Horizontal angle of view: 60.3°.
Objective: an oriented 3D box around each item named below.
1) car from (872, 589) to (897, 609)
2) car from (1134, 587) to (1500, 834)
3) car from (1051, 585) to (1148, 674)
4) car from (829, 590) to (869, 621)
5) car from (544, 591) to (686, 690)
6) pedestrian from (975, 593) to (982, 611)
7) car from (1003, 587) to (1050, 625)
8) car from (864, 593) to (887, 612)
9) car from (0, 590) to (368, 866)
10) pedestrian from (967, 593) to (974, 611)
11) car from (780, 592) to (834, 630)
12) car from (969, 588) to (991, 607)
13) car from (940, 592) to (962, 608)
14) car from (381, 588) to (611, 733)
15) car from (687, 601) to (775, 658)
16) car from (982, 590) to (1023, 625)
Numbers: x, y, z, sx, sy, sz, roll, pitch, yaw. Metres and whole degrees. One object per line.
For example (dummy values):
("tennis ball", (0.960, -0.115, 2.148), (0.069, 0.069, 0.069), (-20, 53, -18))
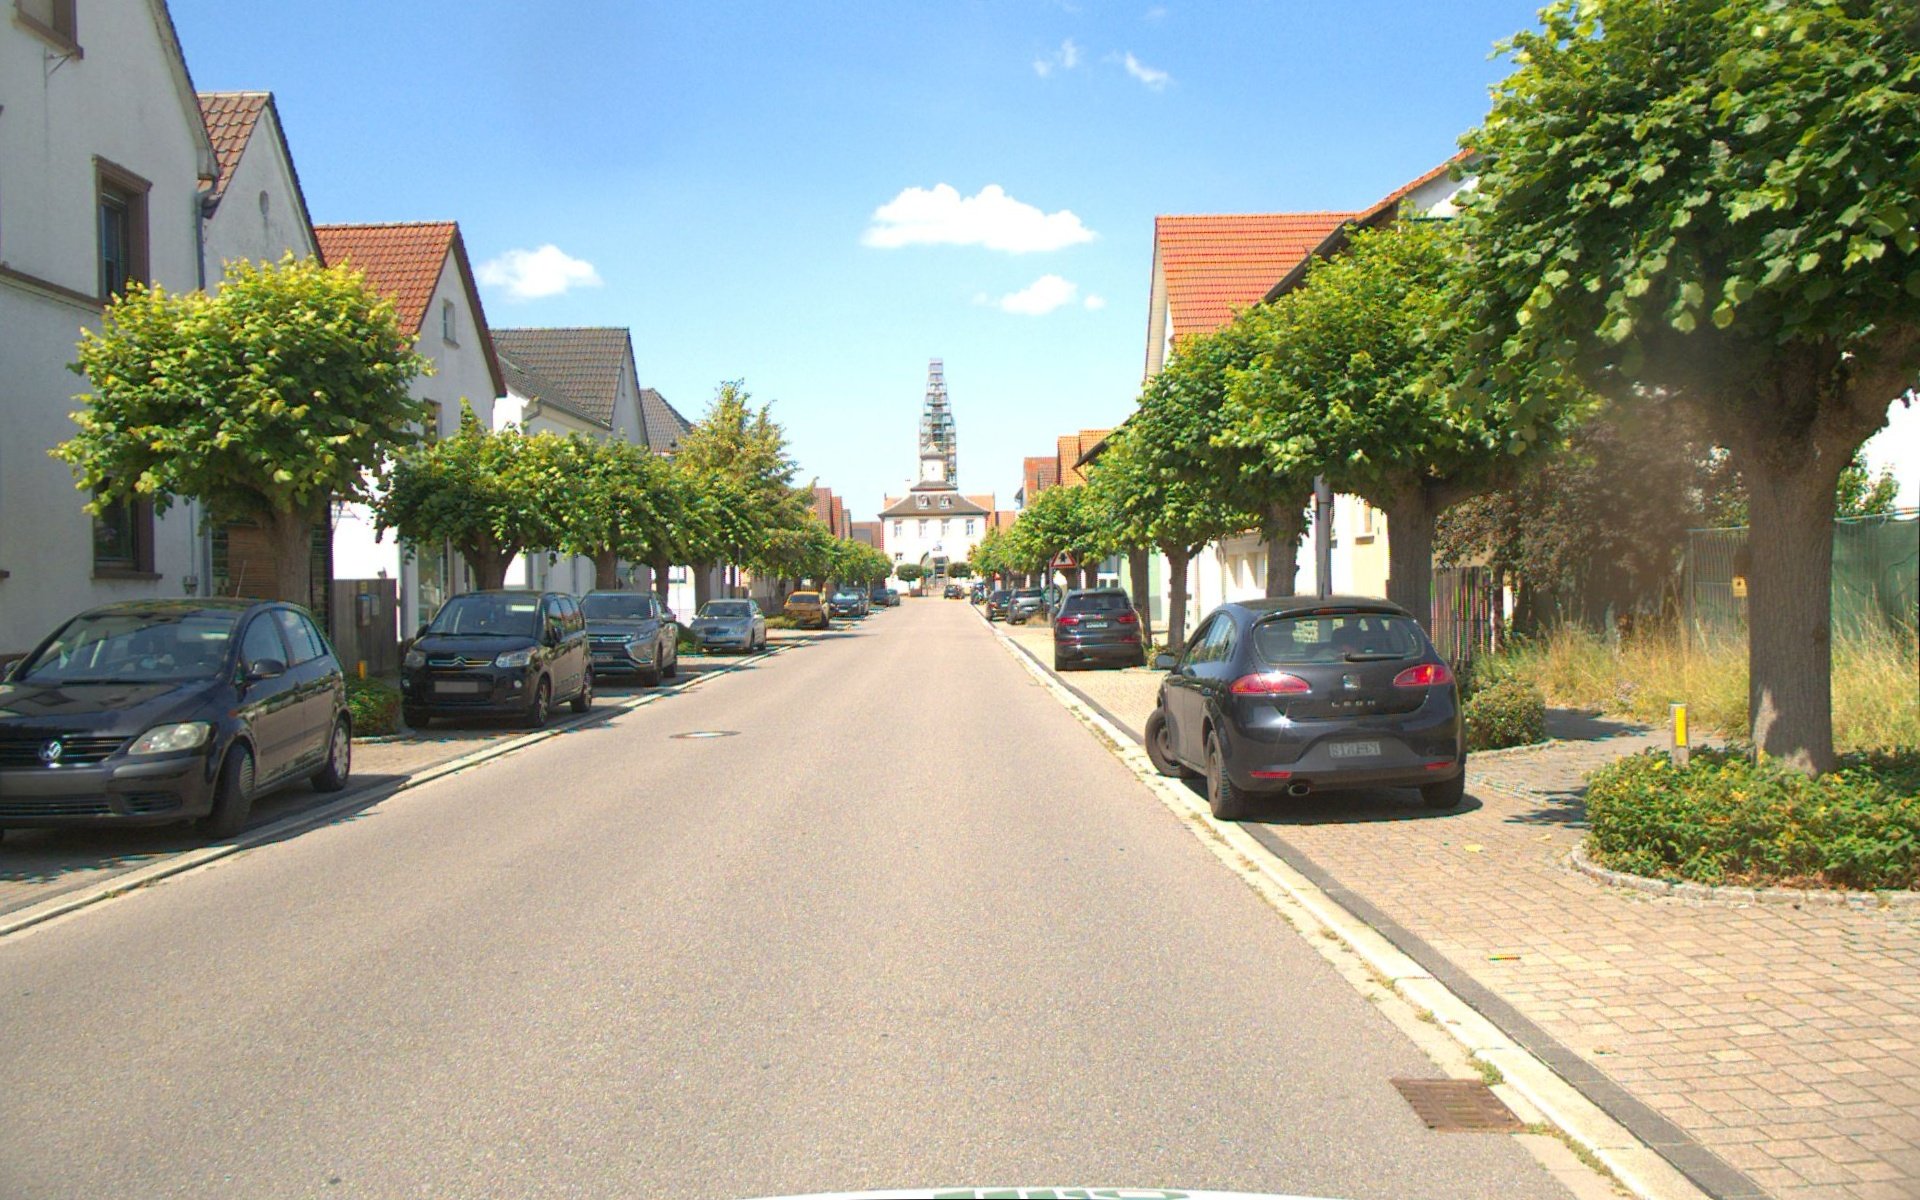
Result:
("car", (-6.616, -0.075, 144.588), (1.952, 1.639, 3.855), (0, 0, 0))
("car", (2.480, 0.682, 12.523), (1.787, 1.457, 4.056), (-3, 1, -1))
("car", (2.786, 0.544, 33.710), (1.786, 1.613, 4.059), (-3, 1, 3))
("car", (-6.434, 0.294, 95.952), (1.952, 1.639, 4.689), (1, 1, 0))
("car", (-6.197, 0.680, 30.180), (1.954, 1.681, 4.364), (0, 0, -4))
("pedestrian", (1.466, 0.166, 131.482), (0.352, 1.427, 0.319), (-1, 0, 37))
("car", (2.954, 0.260, 74.161), (1.800, 1.636, 3.999), (-1, 0, -2))
("car", (-7.060, 0.207, 138.839), (1.721, 1.582, 4.020), (-1, 0, 0))
("car", (-5.712, 0.771, 11.992), (1.751, 1.662, 3.995), (0, 0, -6))
("pedestrian", (0.838, 0.157, 131.207), (0.352, 1.427, 0.319), (-1, 0, 37))
("car", (-6.806, 0.482, 73.966), (1.952, 1.639, 4.689), (0, 0, 0))
("car", (1.772, -0.254, 144.620), (1.800, 1.582, 4.313), (-3, 0, 0))
("car", (-0.972, 0.009, 176.290), (1.692, 1.574, 3.458), (1, 0, 10))
("car", (-5.813, 0.706, 21.225), (1.815, 1.664, 4.056), (1, 0, -1))
("car", (-6.118, 0.750, 44.617), (1.803, 1.420, 4.405), (0, 0, -1))
("car", (2.080, 0.355, 81.774), (1.800, 1.582, 4.313), (-3, 0, -1))
